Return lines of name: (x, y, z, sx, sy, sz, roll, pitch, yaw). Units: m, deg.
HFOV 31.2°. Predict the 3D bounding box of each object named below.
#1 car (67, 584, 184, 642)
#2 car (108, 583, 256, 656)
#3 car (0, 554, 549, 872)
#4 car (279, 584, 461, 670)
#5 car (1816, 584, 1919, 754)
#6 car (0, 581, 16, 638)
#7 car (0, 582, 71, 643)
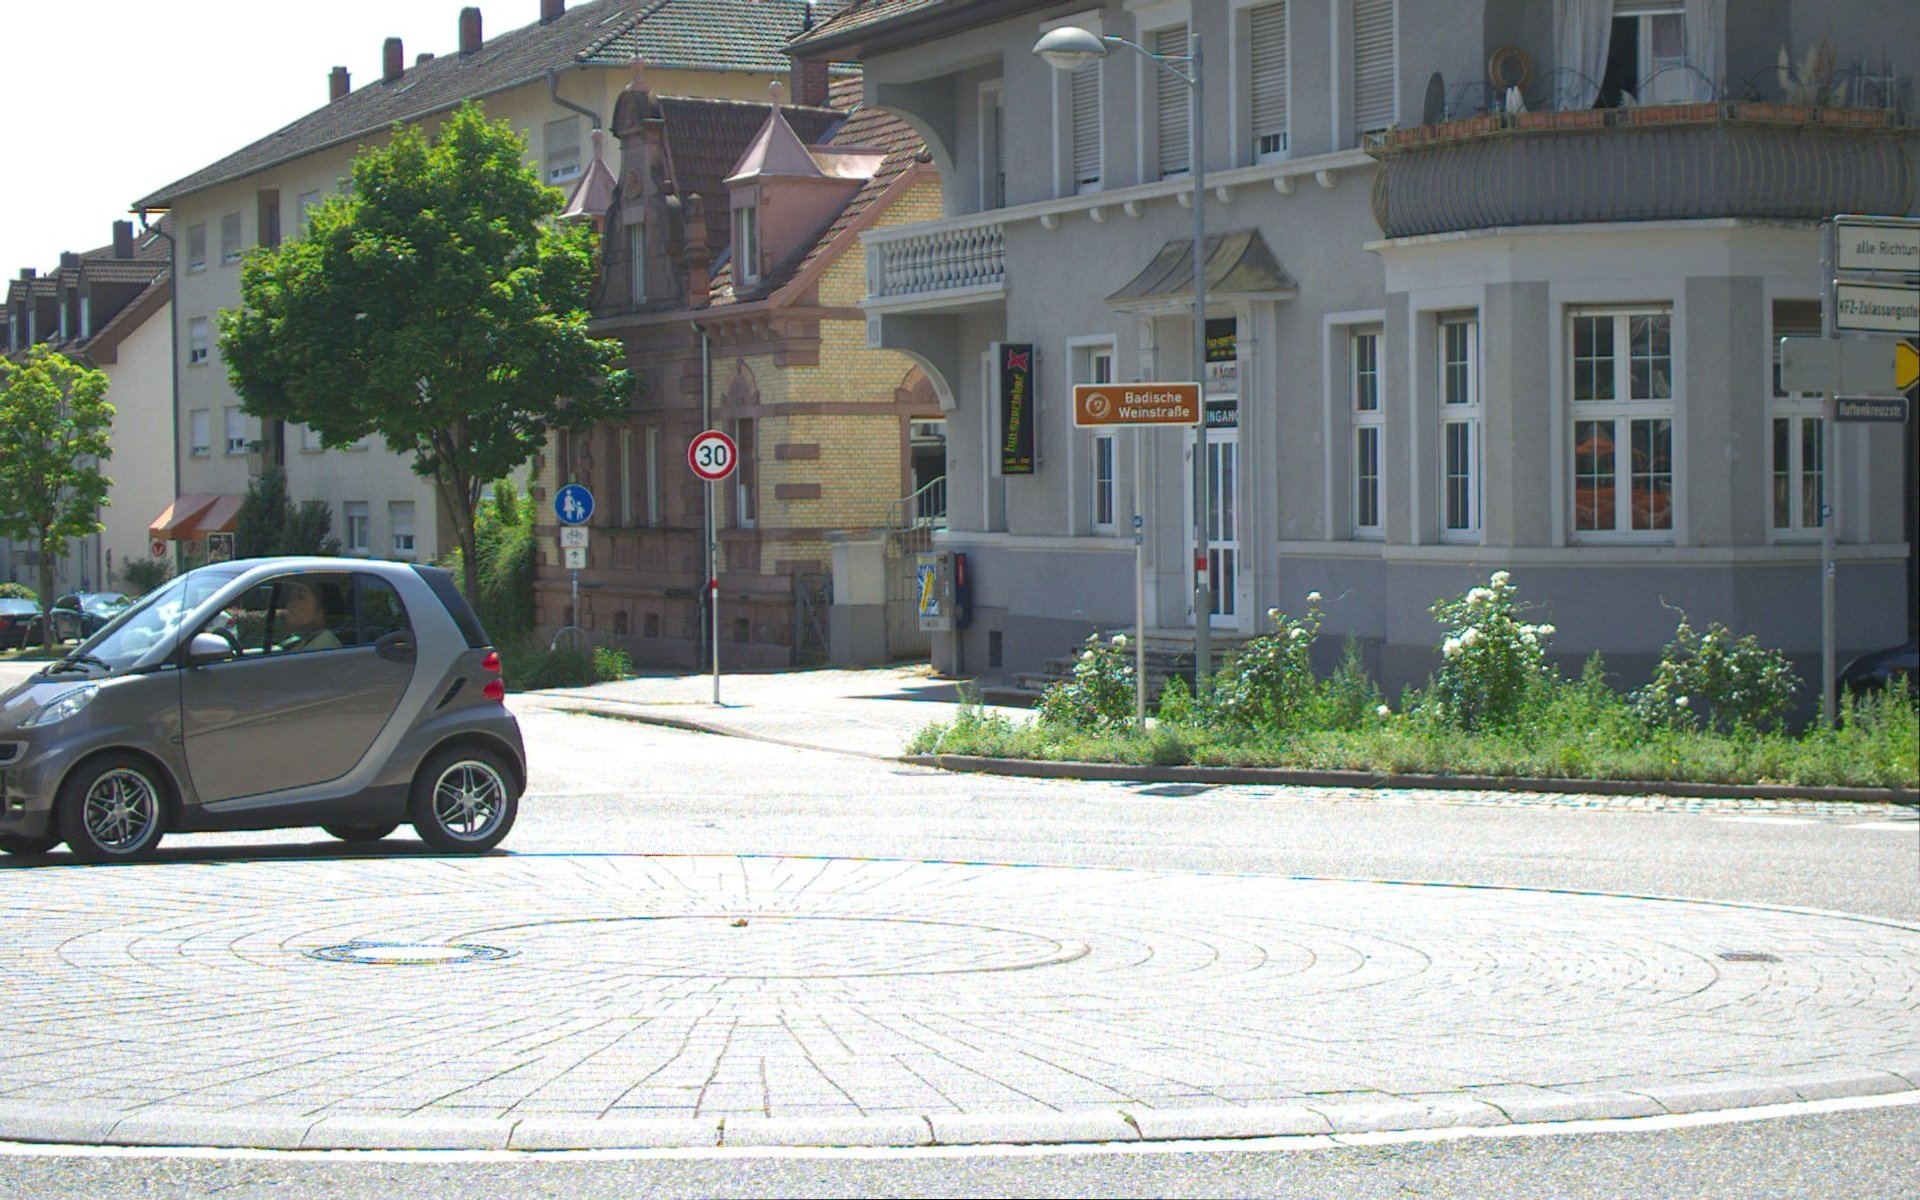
car: (-22.386, 0.337, 92.112, 1.993, 1.504, 4.419, 0, 0, -28)
car: (-16.748, 0.389, 73.862, 1.993, 1.504, 4.419, 0, 0, -28)
car: (-3.740, 0.536, 17.877, 2.779, 1.525, 1.570, 0, 0, -31)
car: (-10.822, 0.467, 62.825, 1.993, 1.504, 4.419, 0, 0, -28)
car: (9.355, 0.599, 29.453, 1.718, 1.455, 3.793, 0, 0, -32)
car: (-26.931, 0.249, 92.609, 1.993, 1.504, 4.419, 0, 0, -28)
car: (-24.053, 0.294, 87.076, 1.993, 1.504, 4.419, 0, 0, -28)
